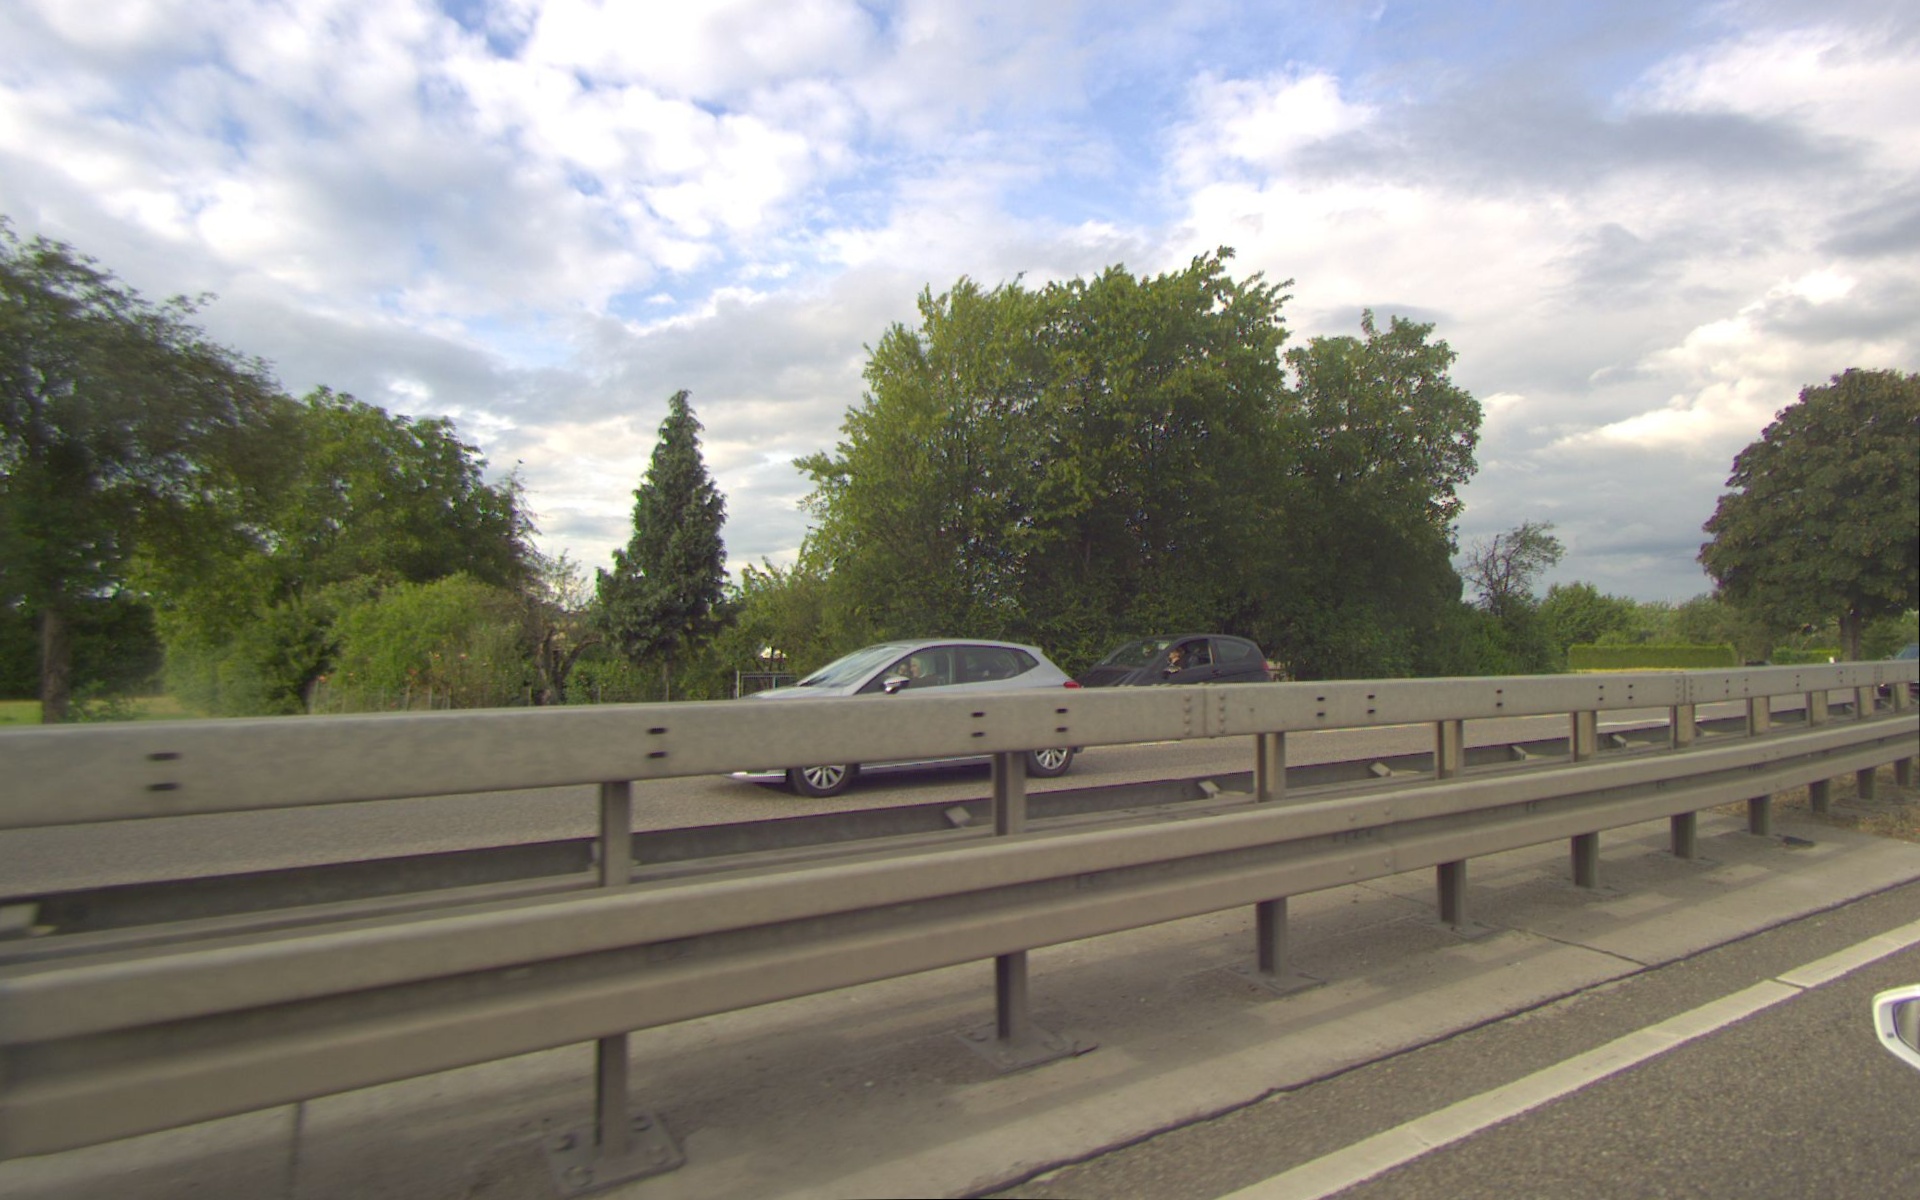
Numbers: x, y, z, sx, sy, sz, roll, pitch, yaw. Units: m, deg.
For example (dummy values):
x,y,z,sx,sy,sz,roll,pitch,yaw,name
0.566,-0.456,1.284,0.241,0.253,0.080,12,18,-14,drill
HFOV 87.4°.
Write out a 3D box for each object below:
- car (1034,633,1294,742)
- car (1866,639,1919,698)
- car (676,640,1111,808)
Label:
x,y,z,sx,sy,sz,roll,pitch,yaw,name
3.408,1.351,16.579,4.113,1.594,1.780,1,-3,-31,car
26.331,1.779,26.838,4.771,1.497,1.857,1,-3,-32,car
-0.610,1.116,10.287,4.113,1.404,1.780,1,-3,-31,car
